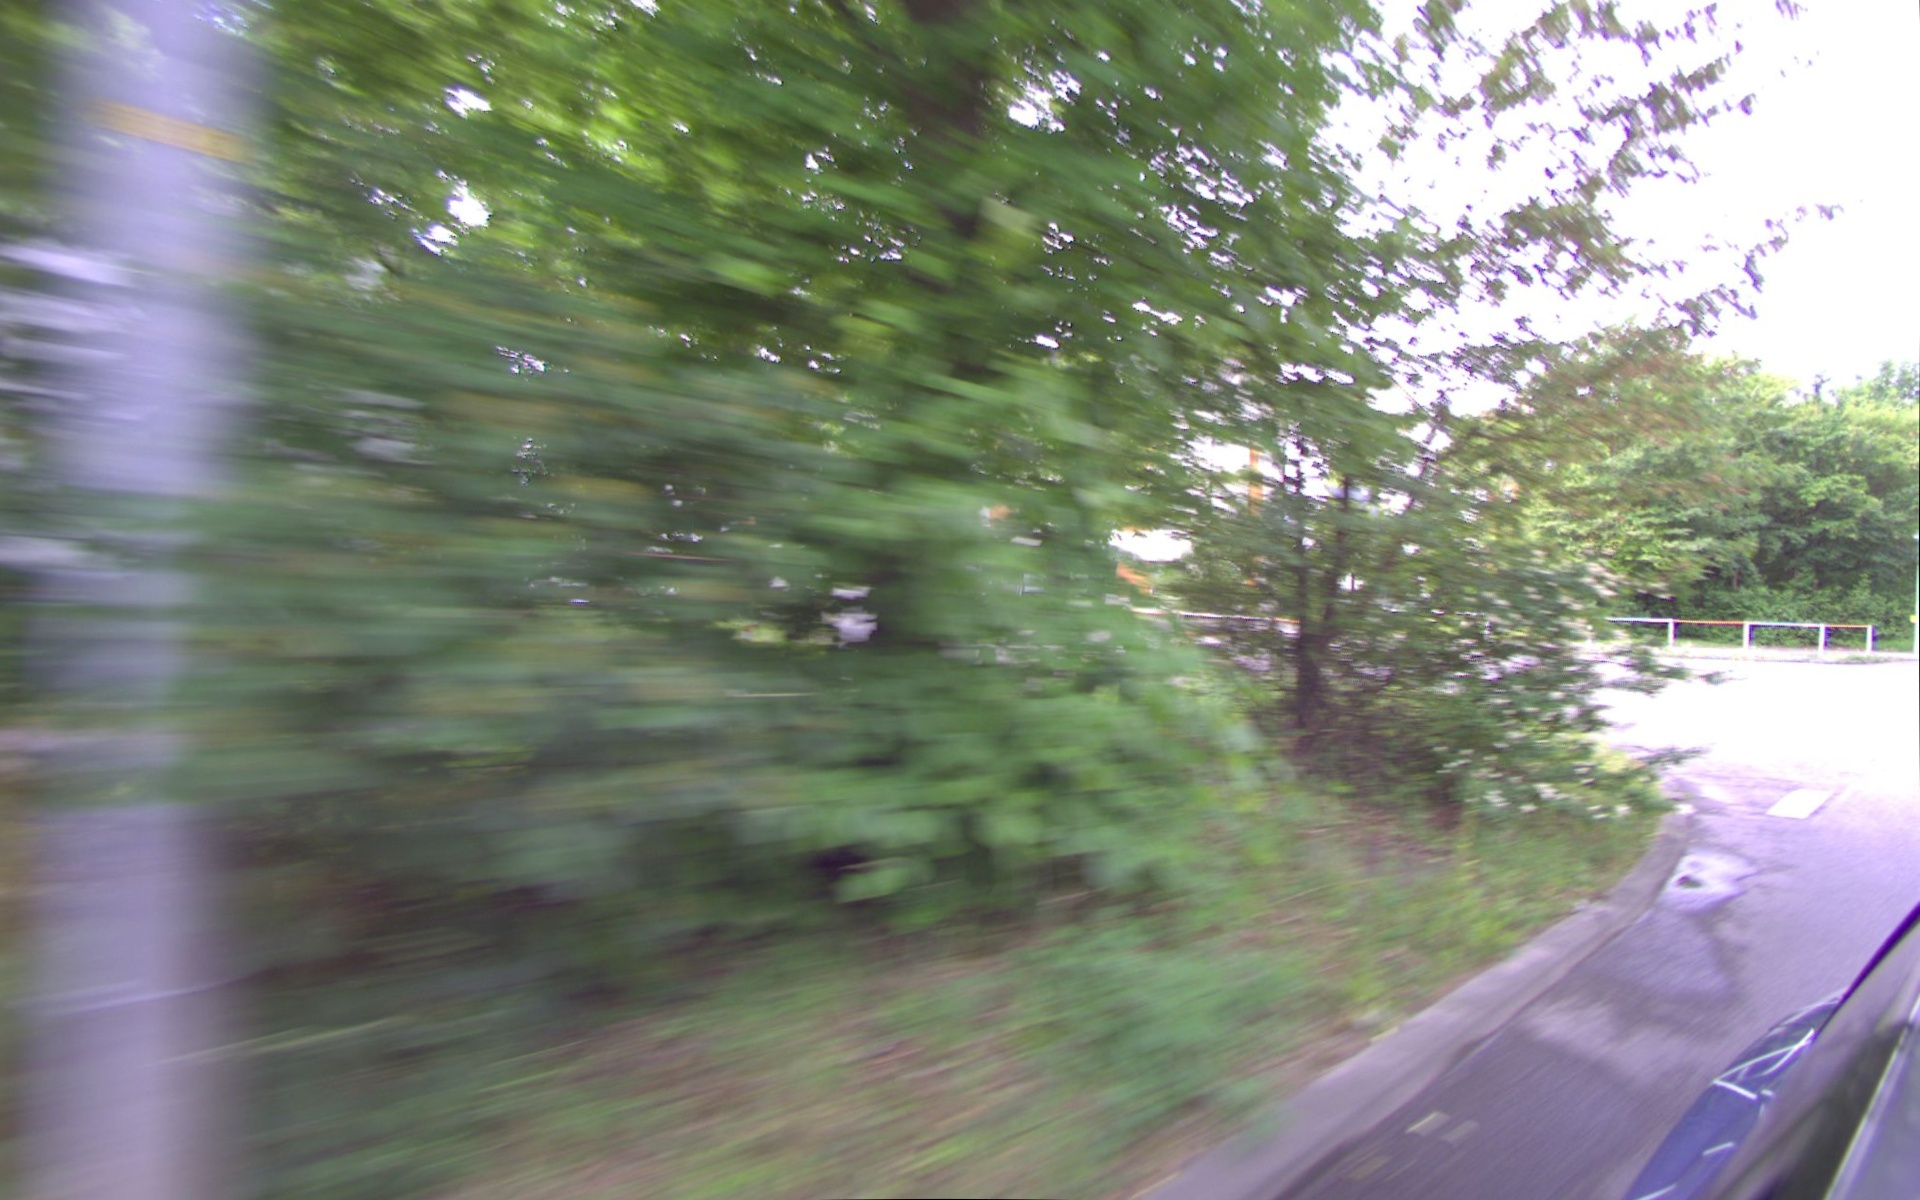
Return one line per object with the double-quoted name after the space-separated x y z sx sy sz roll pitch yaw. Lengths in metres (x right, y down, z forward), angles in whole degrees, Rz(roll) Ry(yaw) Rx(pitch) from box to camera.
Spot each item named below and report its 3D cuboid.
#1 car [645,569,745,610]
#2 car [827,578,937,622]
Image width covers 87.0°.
-11.066 -0.453 42.211 3.966 1.593 1.773 1 1 30 "car"
-2.854 -0.039 36.925 3.741 1.483 1.621 1 1 30 "car"
